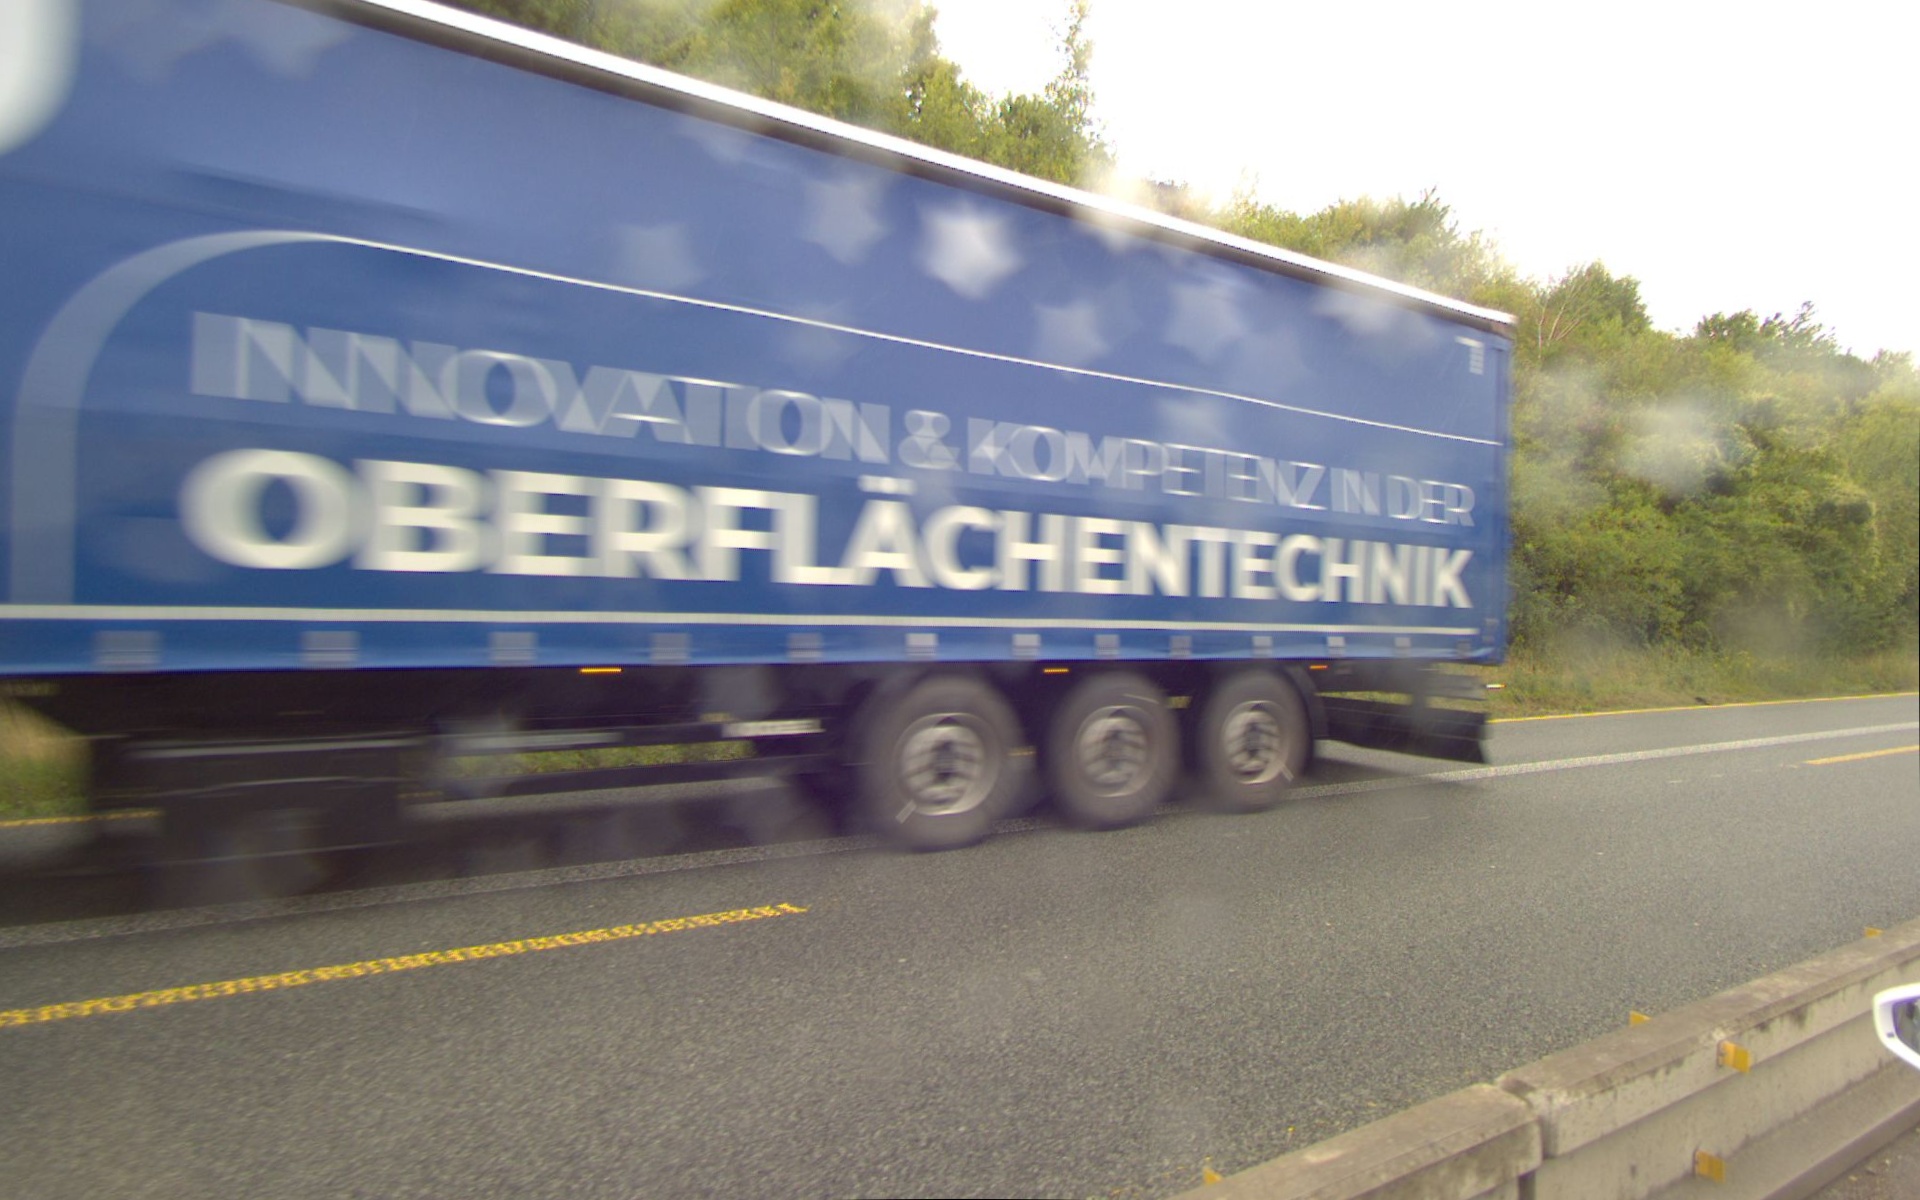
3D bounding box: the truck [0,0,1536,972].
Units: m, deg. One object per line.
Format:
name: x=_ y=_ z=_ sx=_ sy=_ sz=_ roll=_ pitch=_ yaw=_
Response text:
truck: x=-3.046 y=-0.731 z=5.418 sx=16.731 sy=4.178 sz=2.752 roll=2 pitch=0 yaw=-31
